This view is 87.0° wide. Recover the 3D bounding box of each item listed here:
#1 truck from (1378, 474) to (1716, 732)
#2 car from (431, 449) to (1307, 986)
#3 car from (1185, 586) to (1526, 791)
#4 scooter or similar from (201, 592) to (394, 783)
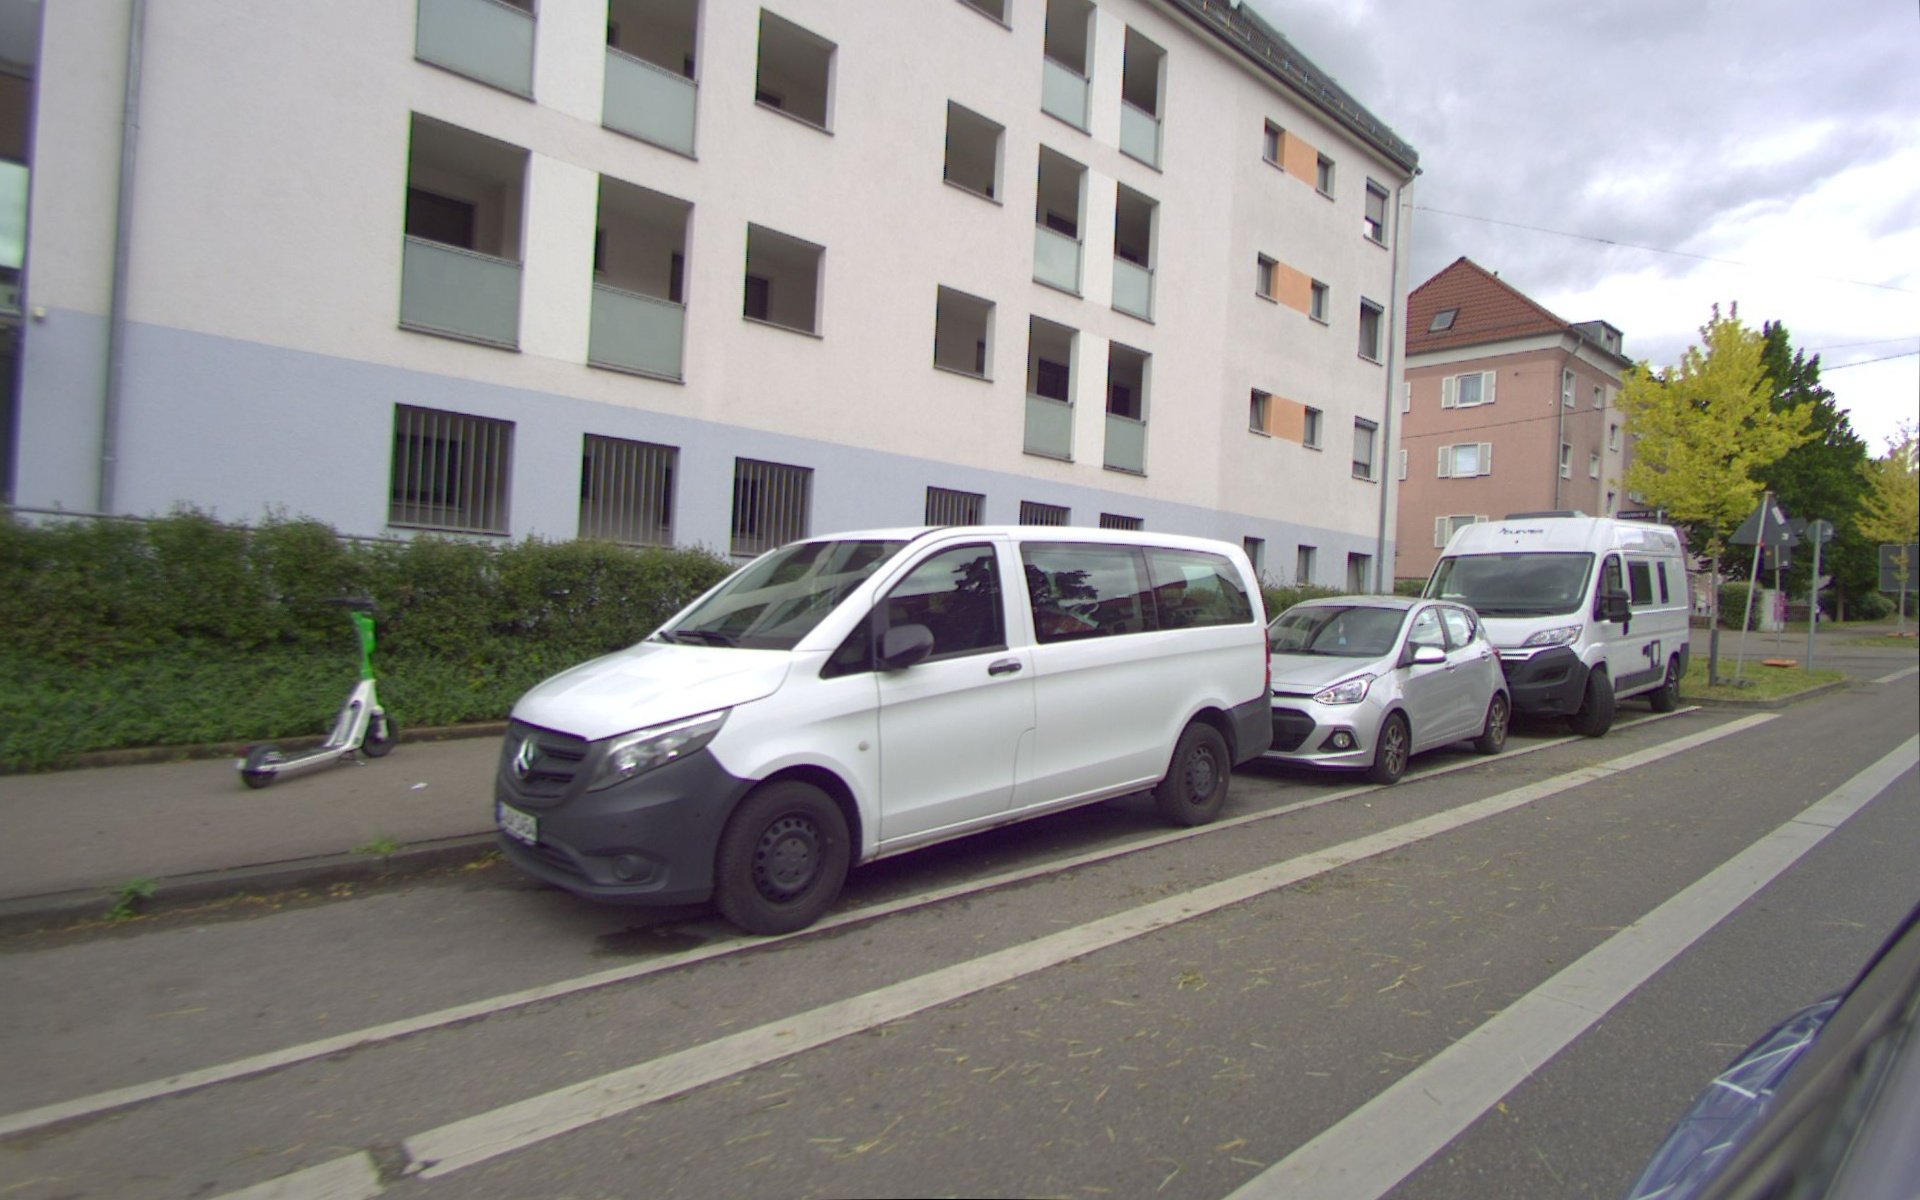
[{"bbox_3d":[7.627,0.021,12.834,5.591,2.598,2.056,1,1,-42],"label":"truck"},{"bbox_3d":[-0.146,0.421,6.165,5.120,1.968,1.997,1,1,-41],"label":"car"},{"bbox_3d":[3.744,0.658,9.278,3.664,1.504,1.526,0,0,-44],"label":"car"},{"bbox_3d":[-4.362,0.524,6.764,0.460,1.118,1.387,1,1,-4],"label":"scooter or similar"}]
